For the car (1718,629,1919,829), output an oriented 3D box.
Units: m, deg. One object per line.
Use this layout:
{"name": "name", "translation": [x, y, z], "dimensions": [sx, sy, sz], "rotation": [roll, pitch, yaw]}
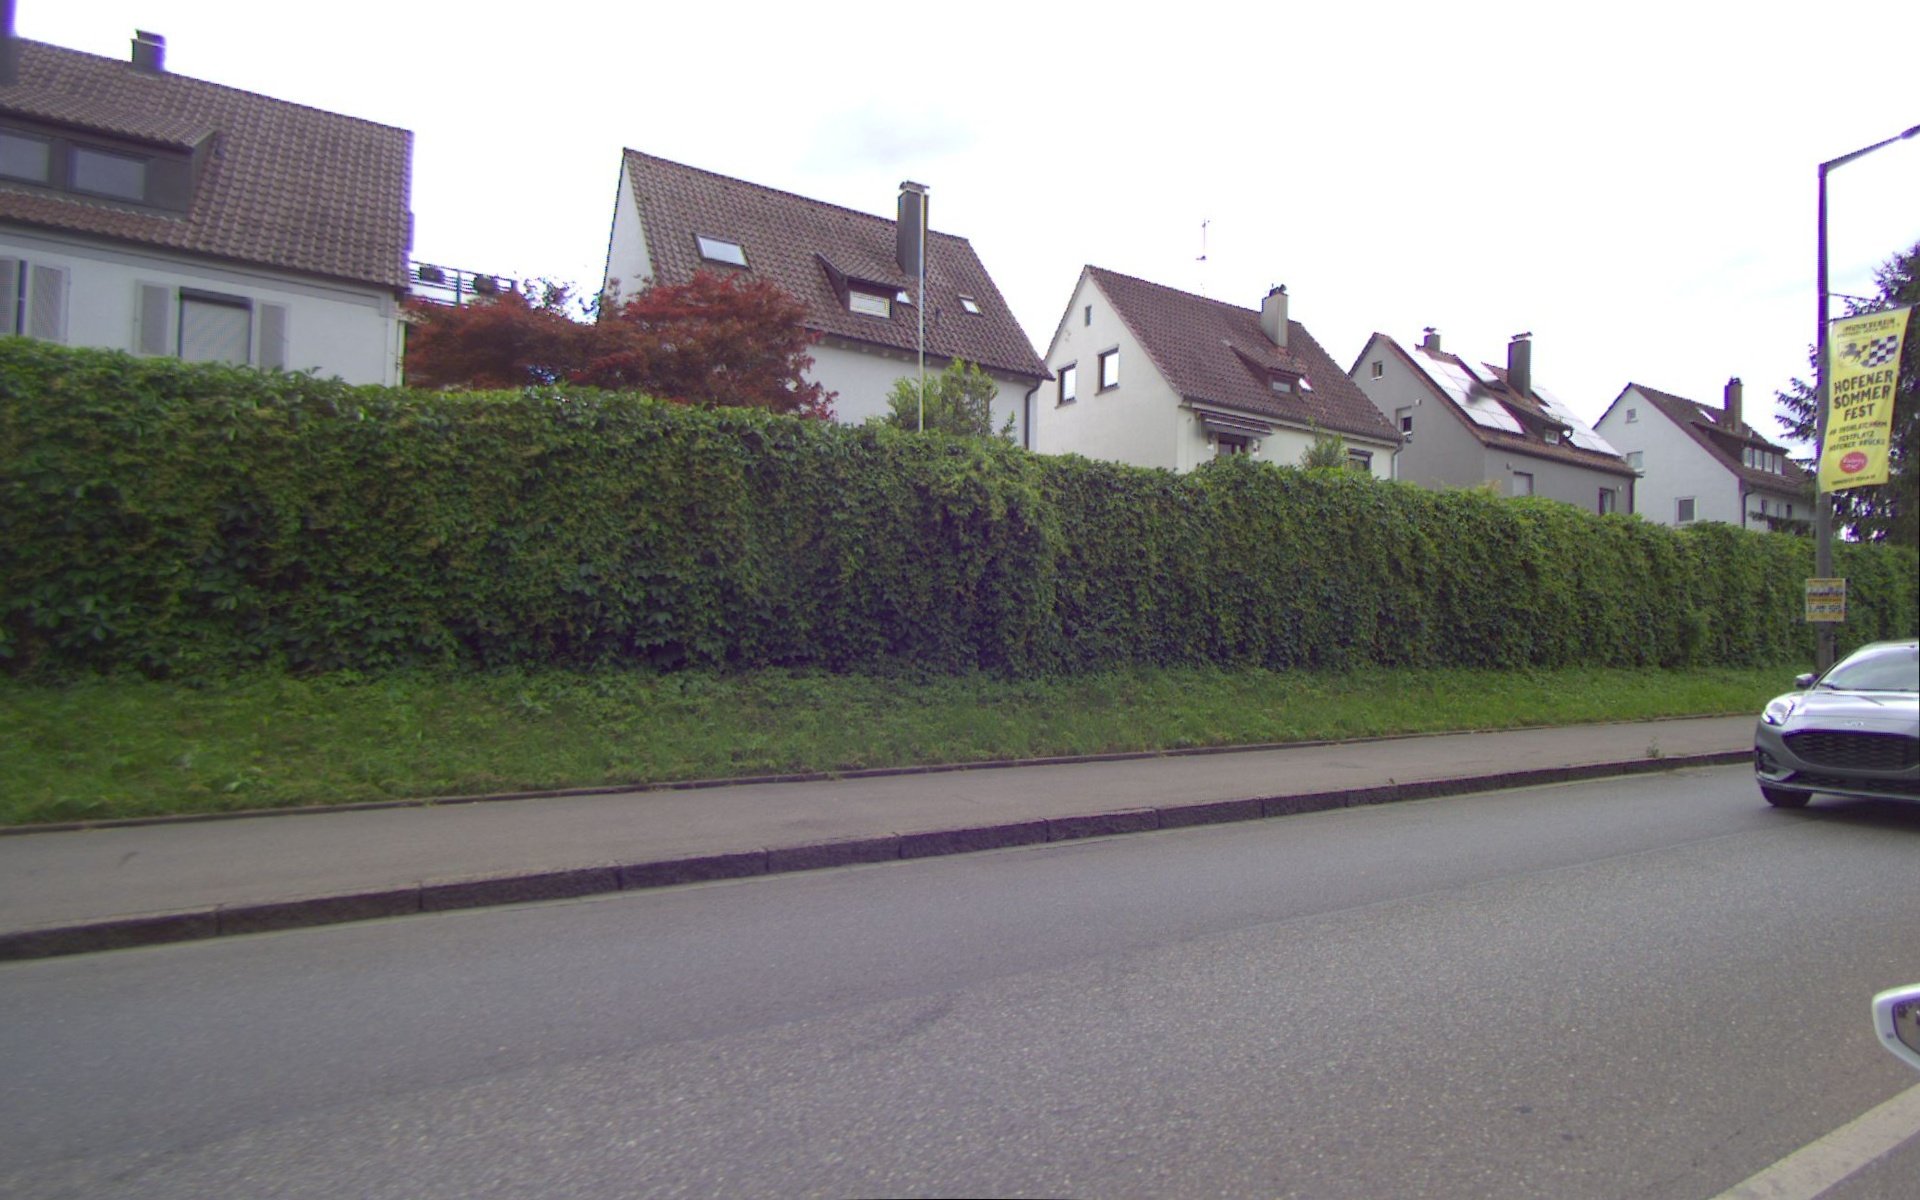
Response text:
{"name": "car", "translation": [8.880, 1.064, 9.112], "dimensions": [3.952, 1.538, 1.744], "rotation": [1, -4, -30]}
